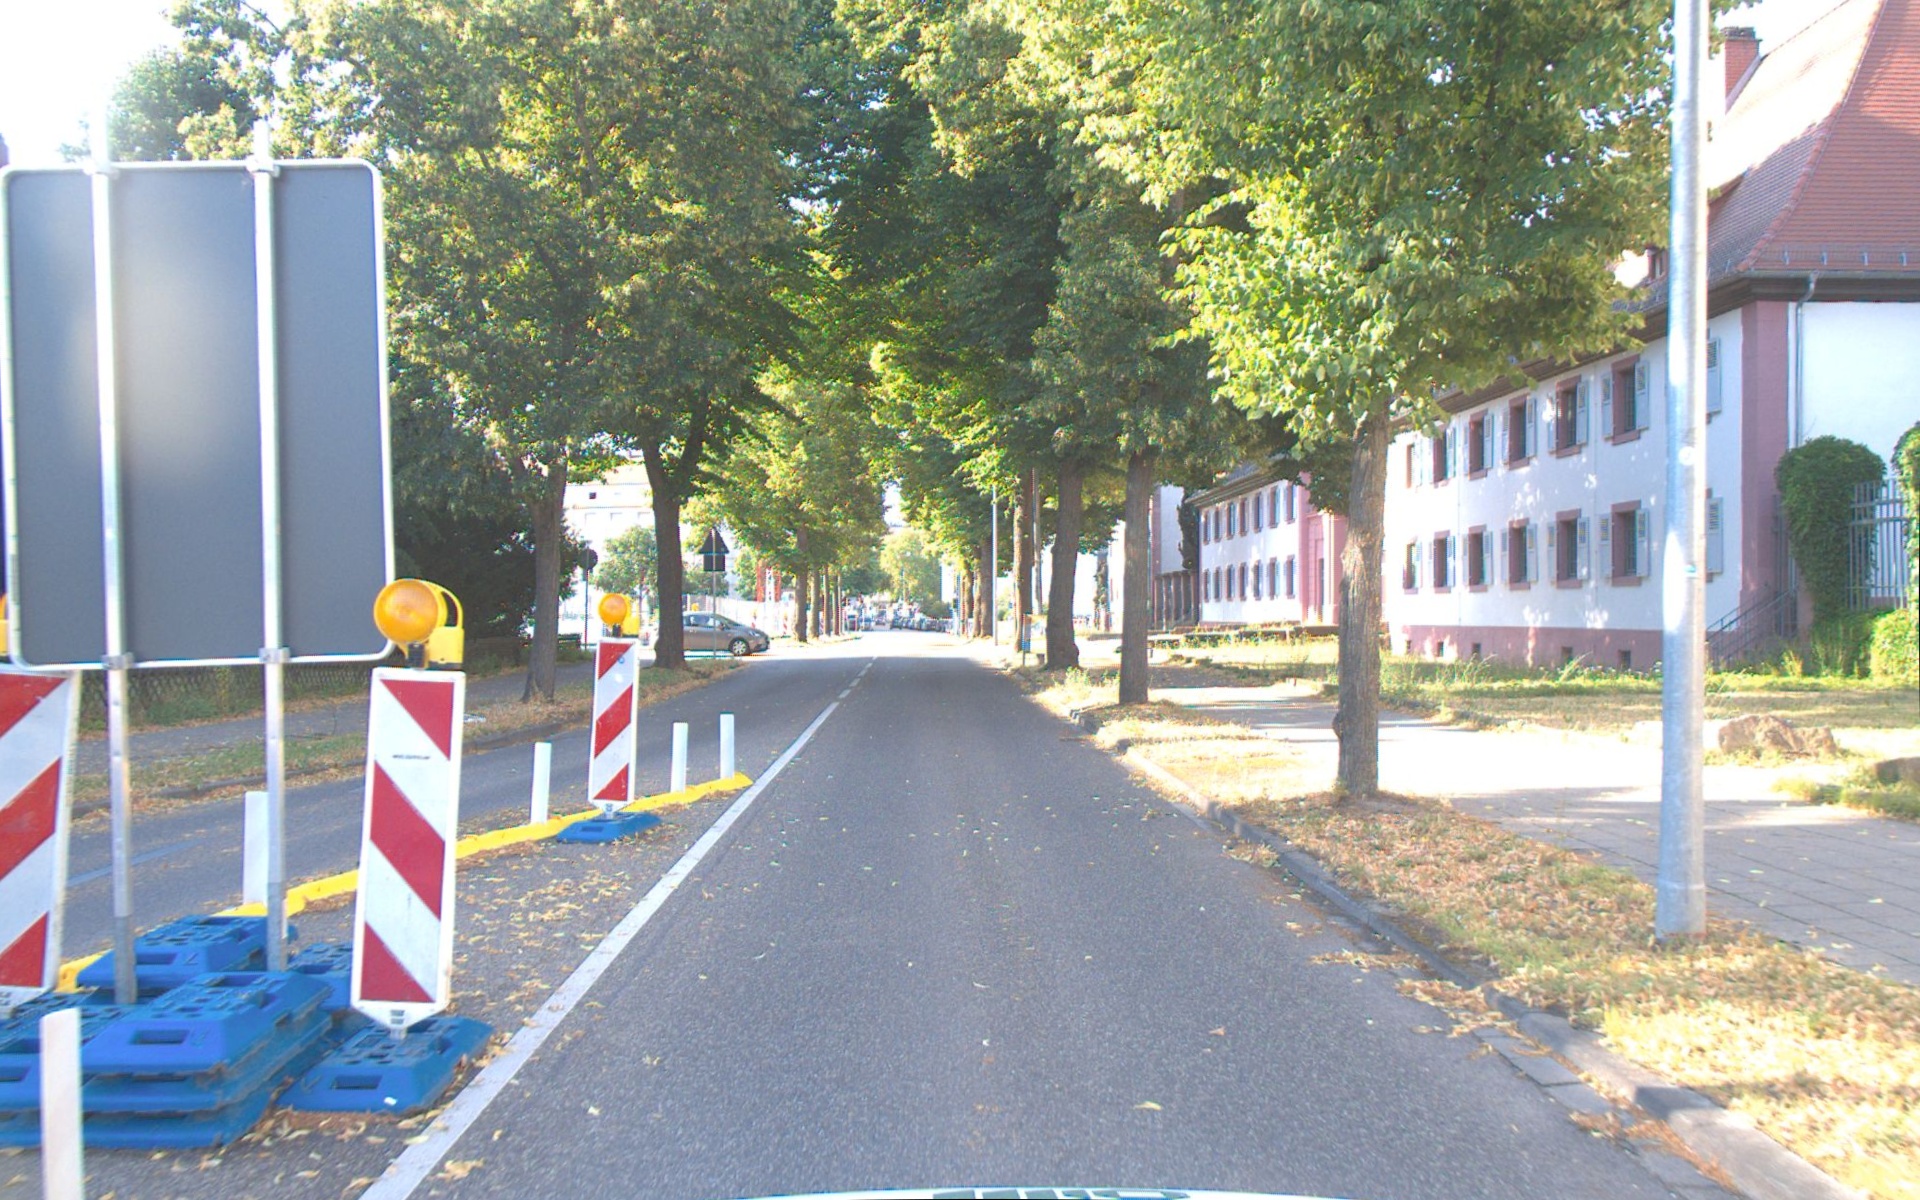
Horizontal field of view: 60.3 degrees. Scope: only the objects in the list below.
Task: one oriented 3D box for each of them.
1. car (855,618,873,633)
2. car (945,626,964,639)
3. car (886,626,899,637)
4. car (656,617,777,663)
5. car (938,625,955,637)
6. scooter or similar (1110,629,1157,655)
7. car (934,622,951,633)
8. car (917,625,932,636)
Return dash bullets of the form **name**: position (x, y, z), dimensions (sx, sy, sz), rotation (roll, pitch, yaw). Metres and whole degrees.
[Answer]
- **car**: position (-11.355, 2.983, 195.650), dimensions (1.956, 1.717, 3.993), rotation (-1, -2, -7)
- **car**: position (-0.588, 3.423, 172.905), dimensions (1.804, 1.283, 3.998), rotation (-1, -1, -2)
- **car**: position (-9.717, 4.530, 239.087), dimensions (1.681, 1.512, 3.995), rotation (-1, -1, -5)
- **car**: position (-8.104, 1.315, 55.228), dimensions (3.765, 1.499, 1.651), rotation (0, -1, 0)
- **car**: position (-1.461, 3.448, 183.589), dimensions (1.803, 1.283, 3.999), rotation (0, -1, 0)
- **scooter or similar**: position (5.194, 1.256, 49.551), dimensions (1.201, 0.558, 1.063), rotation (-9, 0, -2)
- **car**: position (-2.040, 3.158, 190.718), dimensions (1.804, 1.283, 3.998), rotation (-1, -1, -2)
- **car**: position (-4.736, 4.104, 219.774), dimensions (1.805, 1.410, 3.995), rotation (-1, -1, -5)
